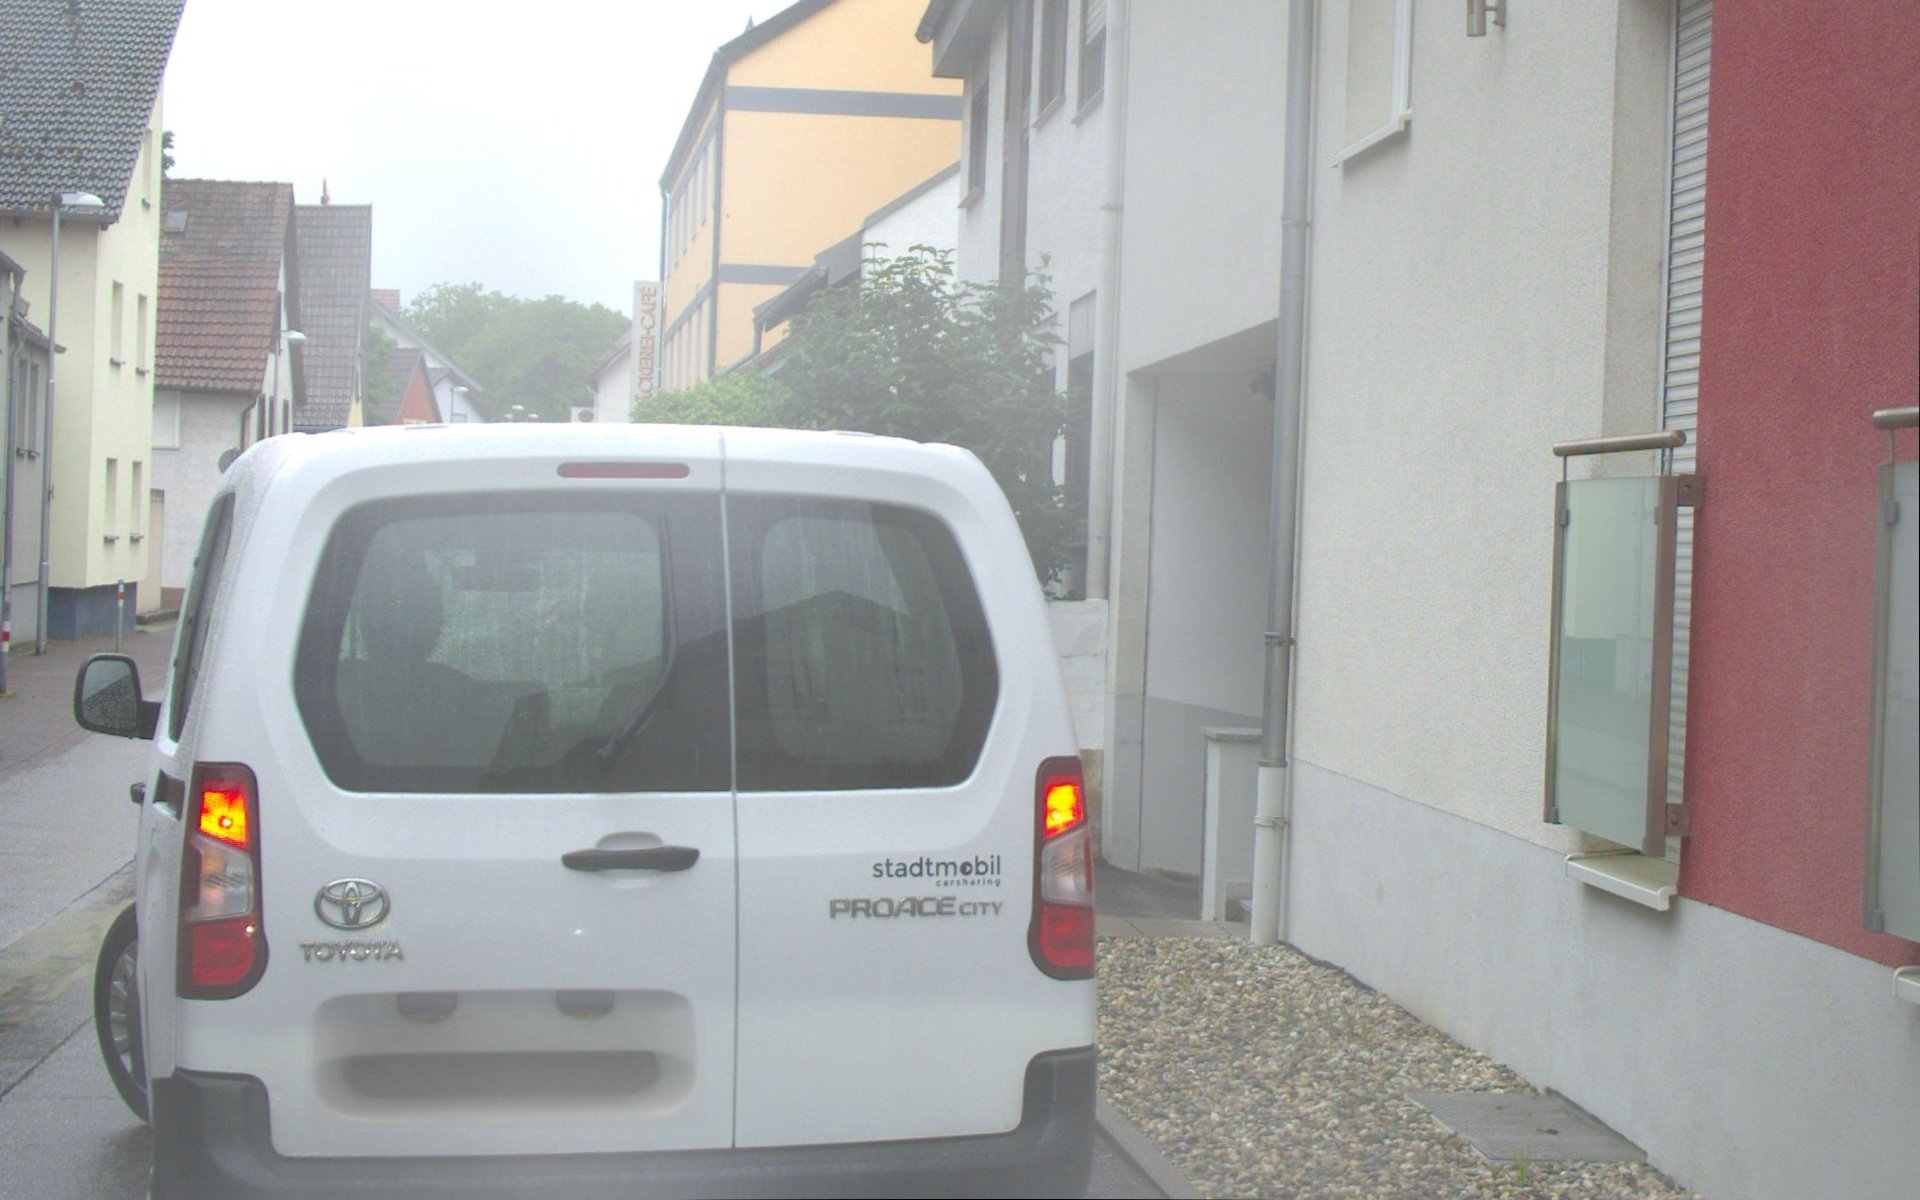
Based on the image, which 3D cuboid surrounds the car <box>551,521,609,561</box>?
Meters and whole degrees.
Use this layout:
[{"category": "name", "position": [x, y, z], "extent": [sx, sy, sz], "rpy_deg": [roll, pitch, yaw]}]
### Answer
[{"category": "car", "position": [-13.518, -2.089, 122.143], "extent": [1.779, 1.390, 4.001], "rpy_deg": [1, 1, -10]}]

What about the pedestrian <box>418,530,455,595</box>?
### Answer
[{"category": "pedestrian", "position": [-15.423, -1.097, 101.366], "extent": [1.050, 1.886, 0.877], "rpy_deg": [1, 0, -8]}]

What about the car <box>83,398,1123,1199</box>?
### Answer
[{"category": "car", "position": [-1.013, 0.537, 7.882], "extent": [1.774, 1.774, 4.001], "rpy_deg": [1, 1, -12]}]

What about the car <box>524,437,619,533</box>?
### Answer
[{"category": "car", "position": [-8.606, -2.518, 76.385], "extent": [1.993, 2.007, 4.001], "rpy_deg": [1, 0, -5]}]

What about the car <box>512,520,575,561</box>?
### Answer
[{"category": "car", "position": [-17.161, -2.470, 141.733], "extent": [1.994, 1.554, 3.432], "rpy_deg": [-1, 3, 2]}]
